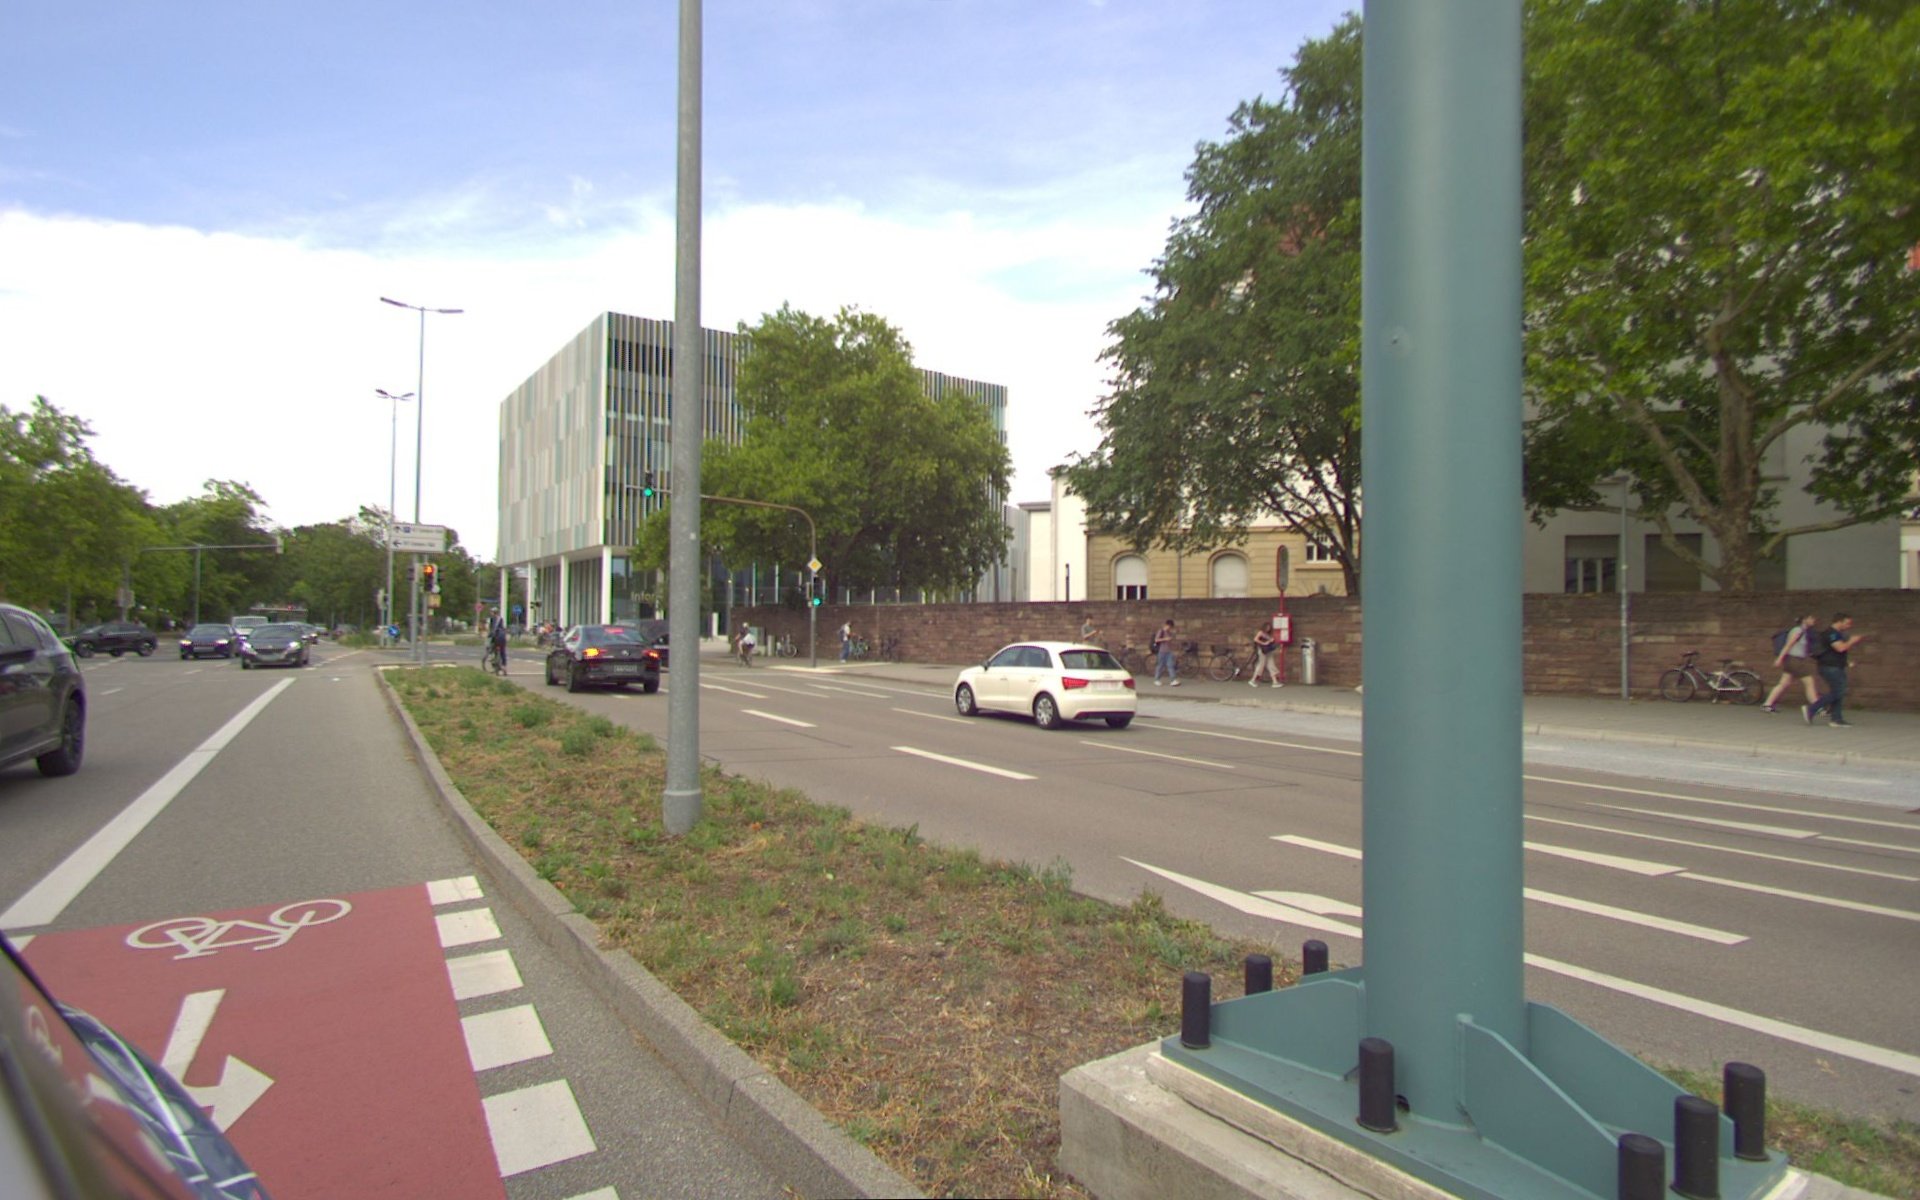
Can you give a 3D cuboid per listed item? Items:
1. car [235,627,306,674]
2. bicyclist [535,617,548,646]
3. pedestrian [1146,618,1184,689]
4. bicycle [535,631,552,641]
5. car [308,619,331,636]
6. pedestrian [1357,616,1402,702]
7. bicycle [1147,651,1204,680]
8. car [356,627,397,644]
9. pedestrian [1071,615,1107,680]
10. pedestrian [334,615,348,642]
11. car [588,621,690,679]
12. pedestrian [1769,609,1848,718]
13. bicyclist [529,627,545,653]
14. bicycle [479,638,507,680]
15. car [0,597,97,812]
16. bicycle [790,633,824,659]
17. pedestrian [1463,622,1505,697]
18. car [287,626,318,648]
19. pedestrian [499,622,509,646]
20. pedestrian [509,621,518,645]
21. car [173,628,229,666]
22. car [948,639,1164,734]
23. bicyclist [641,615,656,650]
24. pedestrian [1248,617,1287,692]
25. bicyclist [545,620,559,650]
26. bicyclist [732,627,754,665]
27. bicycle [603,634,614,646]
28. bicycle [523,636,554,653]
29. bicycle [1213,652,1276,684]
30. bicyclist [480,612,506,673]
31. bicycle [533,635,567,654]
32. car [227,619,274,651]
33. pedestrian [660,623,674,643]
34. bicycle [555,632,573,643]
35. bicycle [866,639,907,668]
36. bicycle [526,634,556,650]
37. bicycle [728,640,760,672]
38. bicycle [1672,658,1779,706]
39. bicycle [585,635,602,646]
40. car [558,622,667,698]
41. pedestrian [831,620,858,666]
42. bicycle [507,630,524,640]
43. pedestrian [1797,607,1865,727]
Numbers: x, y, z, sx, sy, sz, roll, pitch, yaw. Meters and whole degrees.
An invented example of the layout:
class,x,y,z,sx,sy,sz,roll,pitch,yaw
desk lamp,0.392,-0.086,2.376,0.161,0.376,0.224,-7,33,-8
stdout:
class,x,y,z,sx,sy,sz,roll,pitch,yaw
car,-23.282,1.659,34.264,1.633,1.475,4.012,-1,-1,-29
bicyclist,-26.926,2.016,65.104,0.562,1.820,0.593,-1,-1,42
pedestrian,5.292,1.362,26.122,0.780,1.796,0.754,1,-1,28
bicycle,-43.162,3.710,104.981,1.557,1.031,0.390,-1,-1,-40
car,-74.630,3.231,117.874,1.794,1.864,4.008,2,-3,-38
pedestrian,9.061,1.244,21.846,0.781,1.796,0.753,1,-1,30
bicycle,6.123,1.854,28.818,0.435,0.803,1.623,-1,-2,-41
car,-52.531,3.180,91.041,4.412,1.500,1.783,-1,-2,40
pedestrian,3.659,1.321,28.660,0.780,1.796,0.740,1,-1,26
pedestrian,-44.020,2.040,72.001,0.716,1.867,1.067,1,-2,-36
car,-10.183,1.535,31.911,1.778,1.678,4.310,4,-3,-36
pedestrian,14.600,1.063,17.442,0.911,1.796,0.753,1,-1,30
bicyclist,-27.863,2.609,66.613,0.723,1.685,0.718,-1,-1,42
bicycle,-12.392,1.553,26.859,0.565,1.063,1.932,1,-2,-28
car,-8.363,0.818,7.584,1.873,1.661,4.660,0,-1,-27
bicycle,-6.908,2.056,45.604,0.570,1.134,2.170,-2,0,-36
pedestrian,11.608,1.308,22.403,0.734,1.604,0.581,1,-1,36
car,-46.958,2.637,72.231,1.634,1.475,4.009,-1,-1,-36
pedestrian,-35.019,2.627,77.728,0.504,1.851,0.774,2,-3,-35
pedestrian,-34.450,2.533,78.156,0.504,1.851,0.626,2,-3,-35
car,-32.026,1.954,42.664,1.636,1.475,4.006,-1,-1,-40
car,1.515,1.402,17.342,1.647,1.400,3.934,3,-3,-31
bicyclist,-16.165,1.679,52.501,0.609,1.796,0.814,1,-2,-27
pedestrian,7.625,1.331,25.065,0.780,1.796,0.754,1,-1,27
bicyclist,-25.749,2.208,63.851,0.561,1.820,0.593,-2,-3,40
bicyclist,-8.378,1.757,39.025,0.572,1.430,0.813,1,-2,-33
bicycle,-30.001,3.407,86.462,0.388,0.944,1.598,-1,-1,-2
bicycle,-27.776,2.922,66.702,0.728,0.996,1.797,-1,-1,41
bicycle,7.591,1.805,27.088,0.435,0.803,1.623,-1,-2,-41
bicyclist,-12.408,1.117,26.878,0.564,1.586,0.701,1,-2,-27
bicycle,-25.853,2.819,63.839,0.606,1.179,1.870,-1,-2,40
car,-41.245,2.035,58.918,1.966,1.785,4.012,2,-2,-31
pedestrian,-23.143,2.608,79.943,0.674,1.612,0.724,-1,-2,25
bicycle,-37.643,3.535,96.166,1.522,0.944,0.395,-1,-1,-40
bicycle,-2.879,2.049,39.337,0.541,1.066,1.985,-2,0,-38
bicycle,-26.926,2.714,65.095,0.571,0.996,1.669,-1,-3,41
bicycle,-8.336,2.157,38.973,0.573,1.179,1.970,2,-2,-31
bicycle,14.759,1.563,19.545,1.620,0.834,0.436,-1,0,41
bicycle,-31.740,3.512,87.616,0.391,0.944,1.599,-2,-1,22
car,-7.705,1.243,22.179,1.776,1.500,4.420,1,-2,-25
pedestrian,-4.662,1.721,40.808,0.779,1.796,0.741,1,-1,24
bicycle,-50.668,3.975,115.420,1.677,1.031,0.435,-1,-1,-40
pedestrian,13.559,1.025,15.772,0.720,1.796,0.752,1,-3,34
